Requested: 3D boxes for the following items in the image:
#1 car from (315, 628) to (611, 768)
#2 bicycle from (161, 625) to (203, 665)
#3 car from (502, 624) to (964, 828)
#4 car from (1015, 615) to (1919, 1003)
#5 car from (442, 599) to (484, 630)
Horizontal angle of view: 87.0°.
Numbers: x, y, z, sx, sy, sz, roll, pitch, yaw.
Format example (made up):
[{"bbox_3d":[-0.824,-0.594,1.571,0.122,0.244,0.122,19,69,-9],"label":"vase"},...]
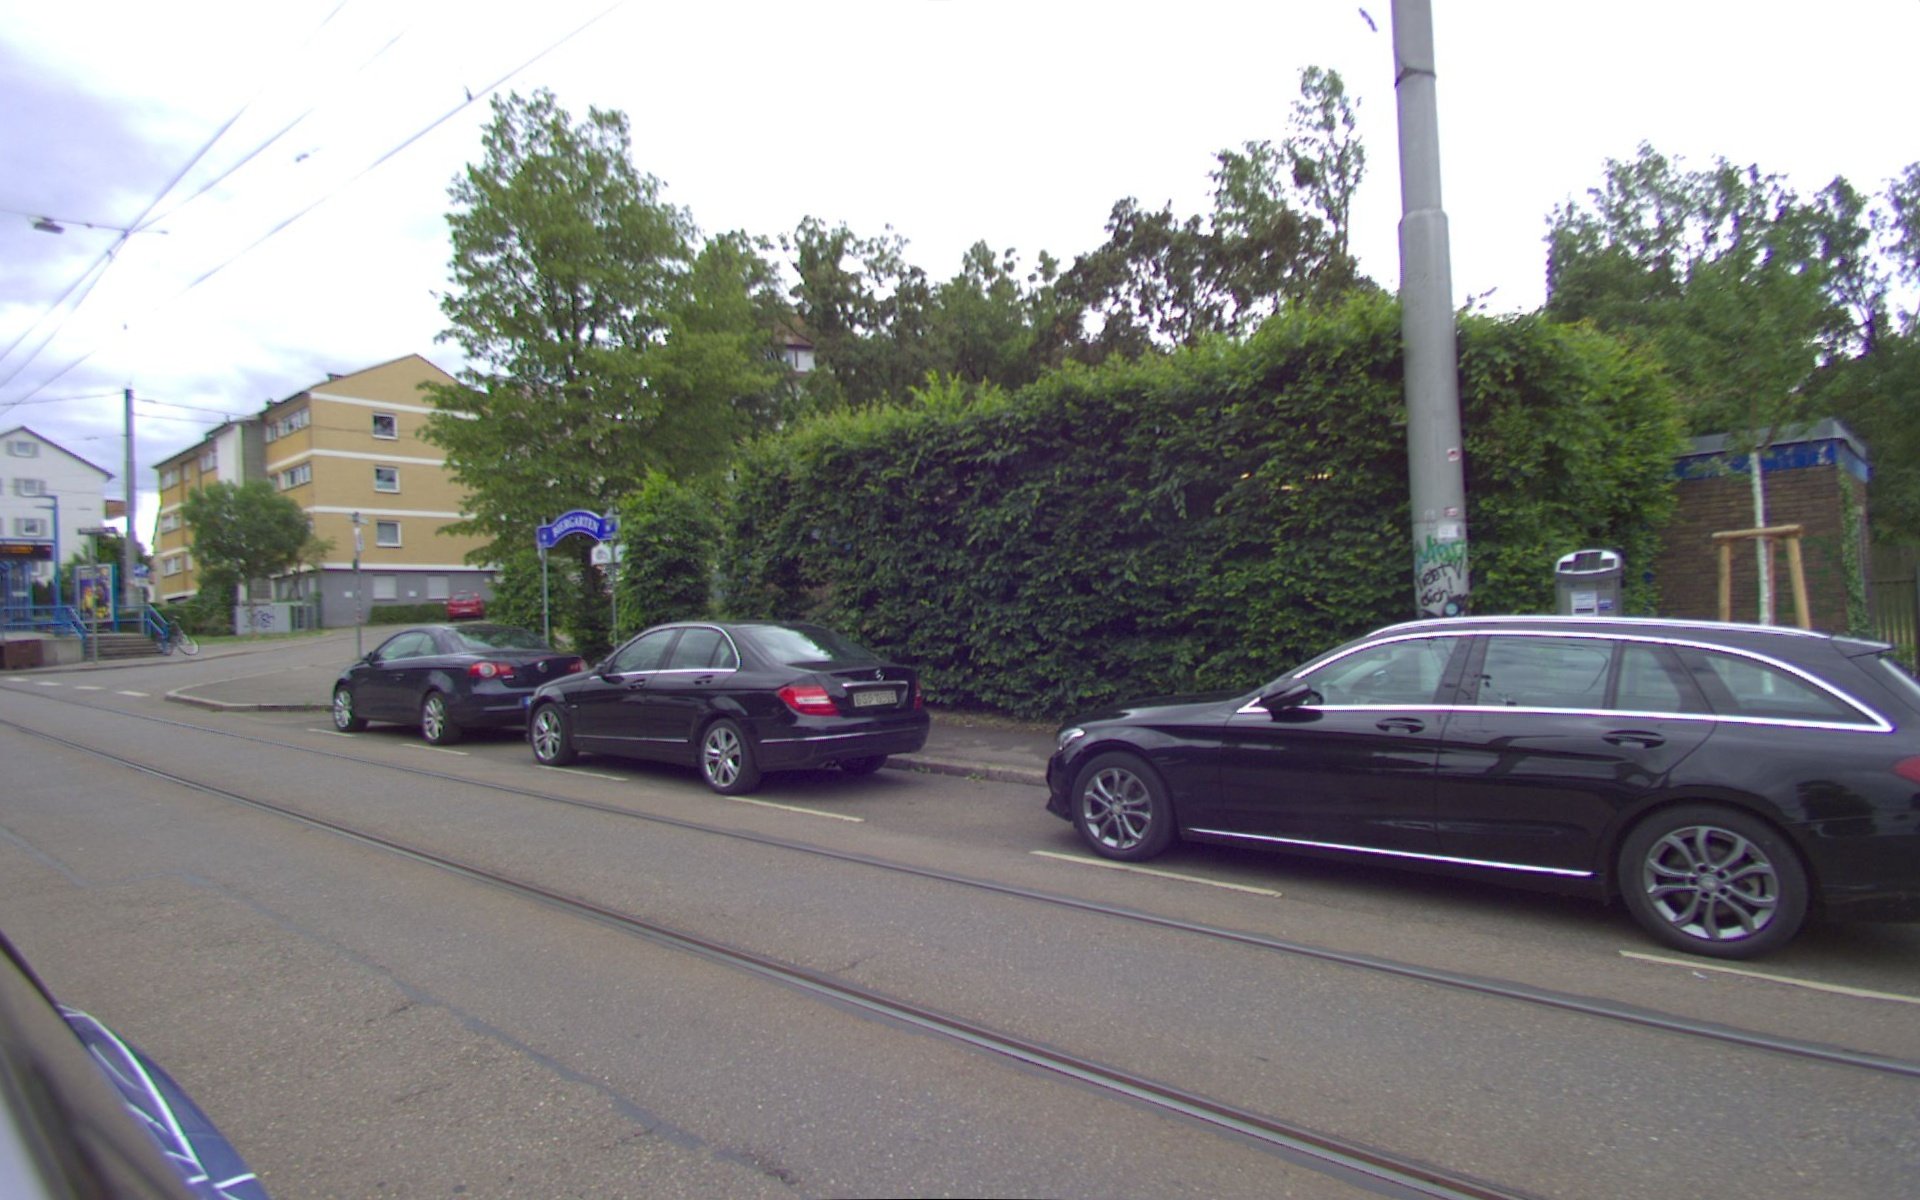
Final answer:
[{"bbox_3d":[-6.429,1.117,12.917,4.155,1.415,1.773,0,0,38],"label":"car"},{"bbox_3d":[-23.894,1.368,31.093,1.486,1.190,0.704,0,0,39],"label":"bicycle"},{"bbox_3d":[-2.261,0.965,9.430,4.434,1.397,1.822,0,0,38],"label":"car"},{"bbox_3d":[2.671,0.805,5.616,4.511,1.397,1.822,0,0,38],"label":"car"},{"bbox_3d":[-25.073,0.706,51.041,1.810,1.475,4.013,-1,0,-26],"label":"car"}]
